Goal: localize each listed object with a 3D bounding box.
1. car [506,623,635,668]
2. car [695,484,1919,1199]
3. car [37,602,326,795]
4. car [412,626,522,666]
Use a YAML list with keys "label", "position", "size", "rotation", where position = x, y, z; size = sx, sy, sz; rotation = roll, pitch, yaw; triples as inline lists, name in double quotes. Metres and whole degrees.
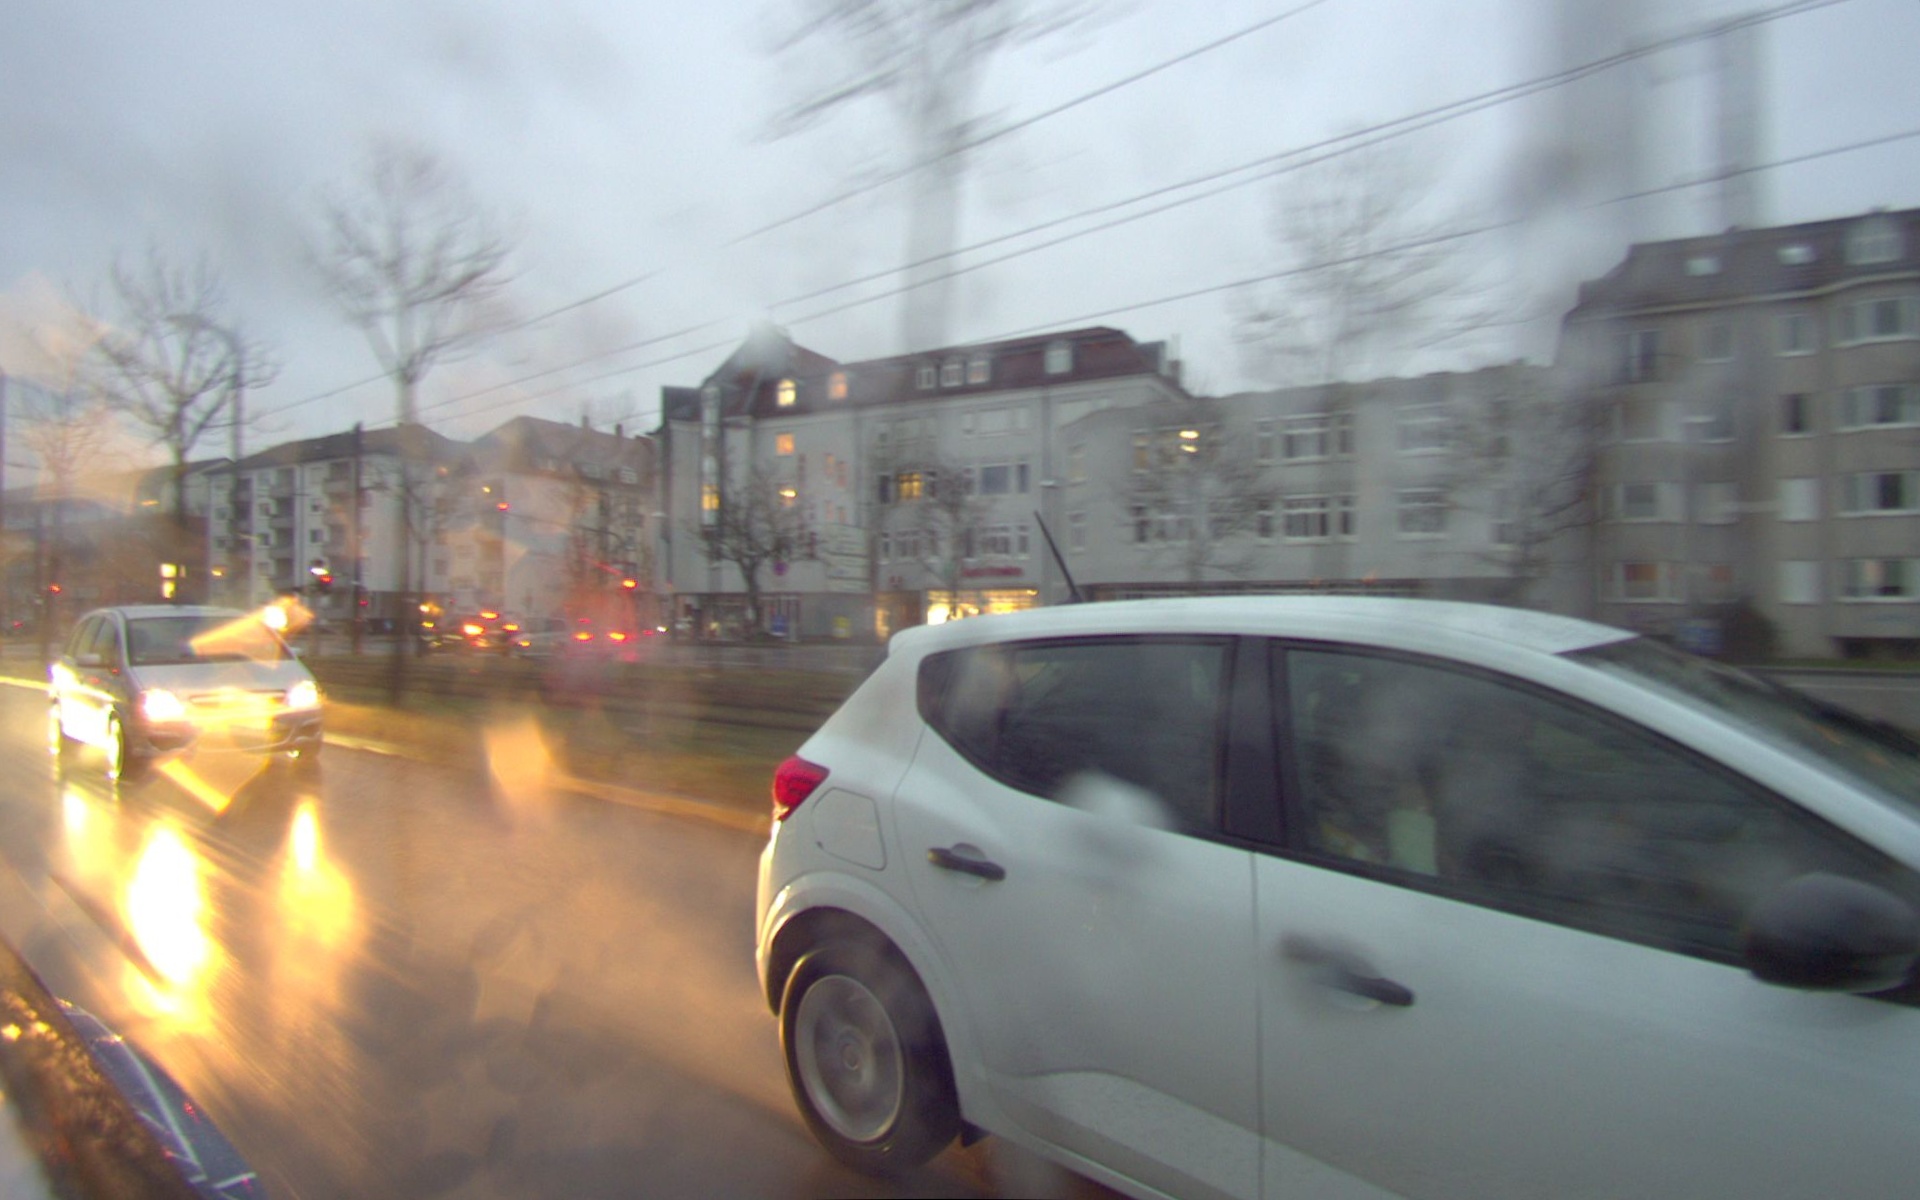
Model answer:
- label: "car"
  position: [-12.522, 1.419, 32.446]
  size: [4.282, 1.365, 1.875]
  rotation: [-1, -2, 37]
- label: "car"
  position: [1.334, 0.642, 2.219]
  size: [4.133, 1.536, 1.691]
  rotation: [-1, -1, 41]
- label: "car"
  position: [-8.024, 0.852, 10.307]
  size: [3.921, 1.587, 1.647]
  rotation: [-1, -2, 42]
- label: "car"
  position: [-17.720, 1.611, 36.335]
  size: [4.283, 1.365, 1.874]
  rotation: [-1, -2, 38]
